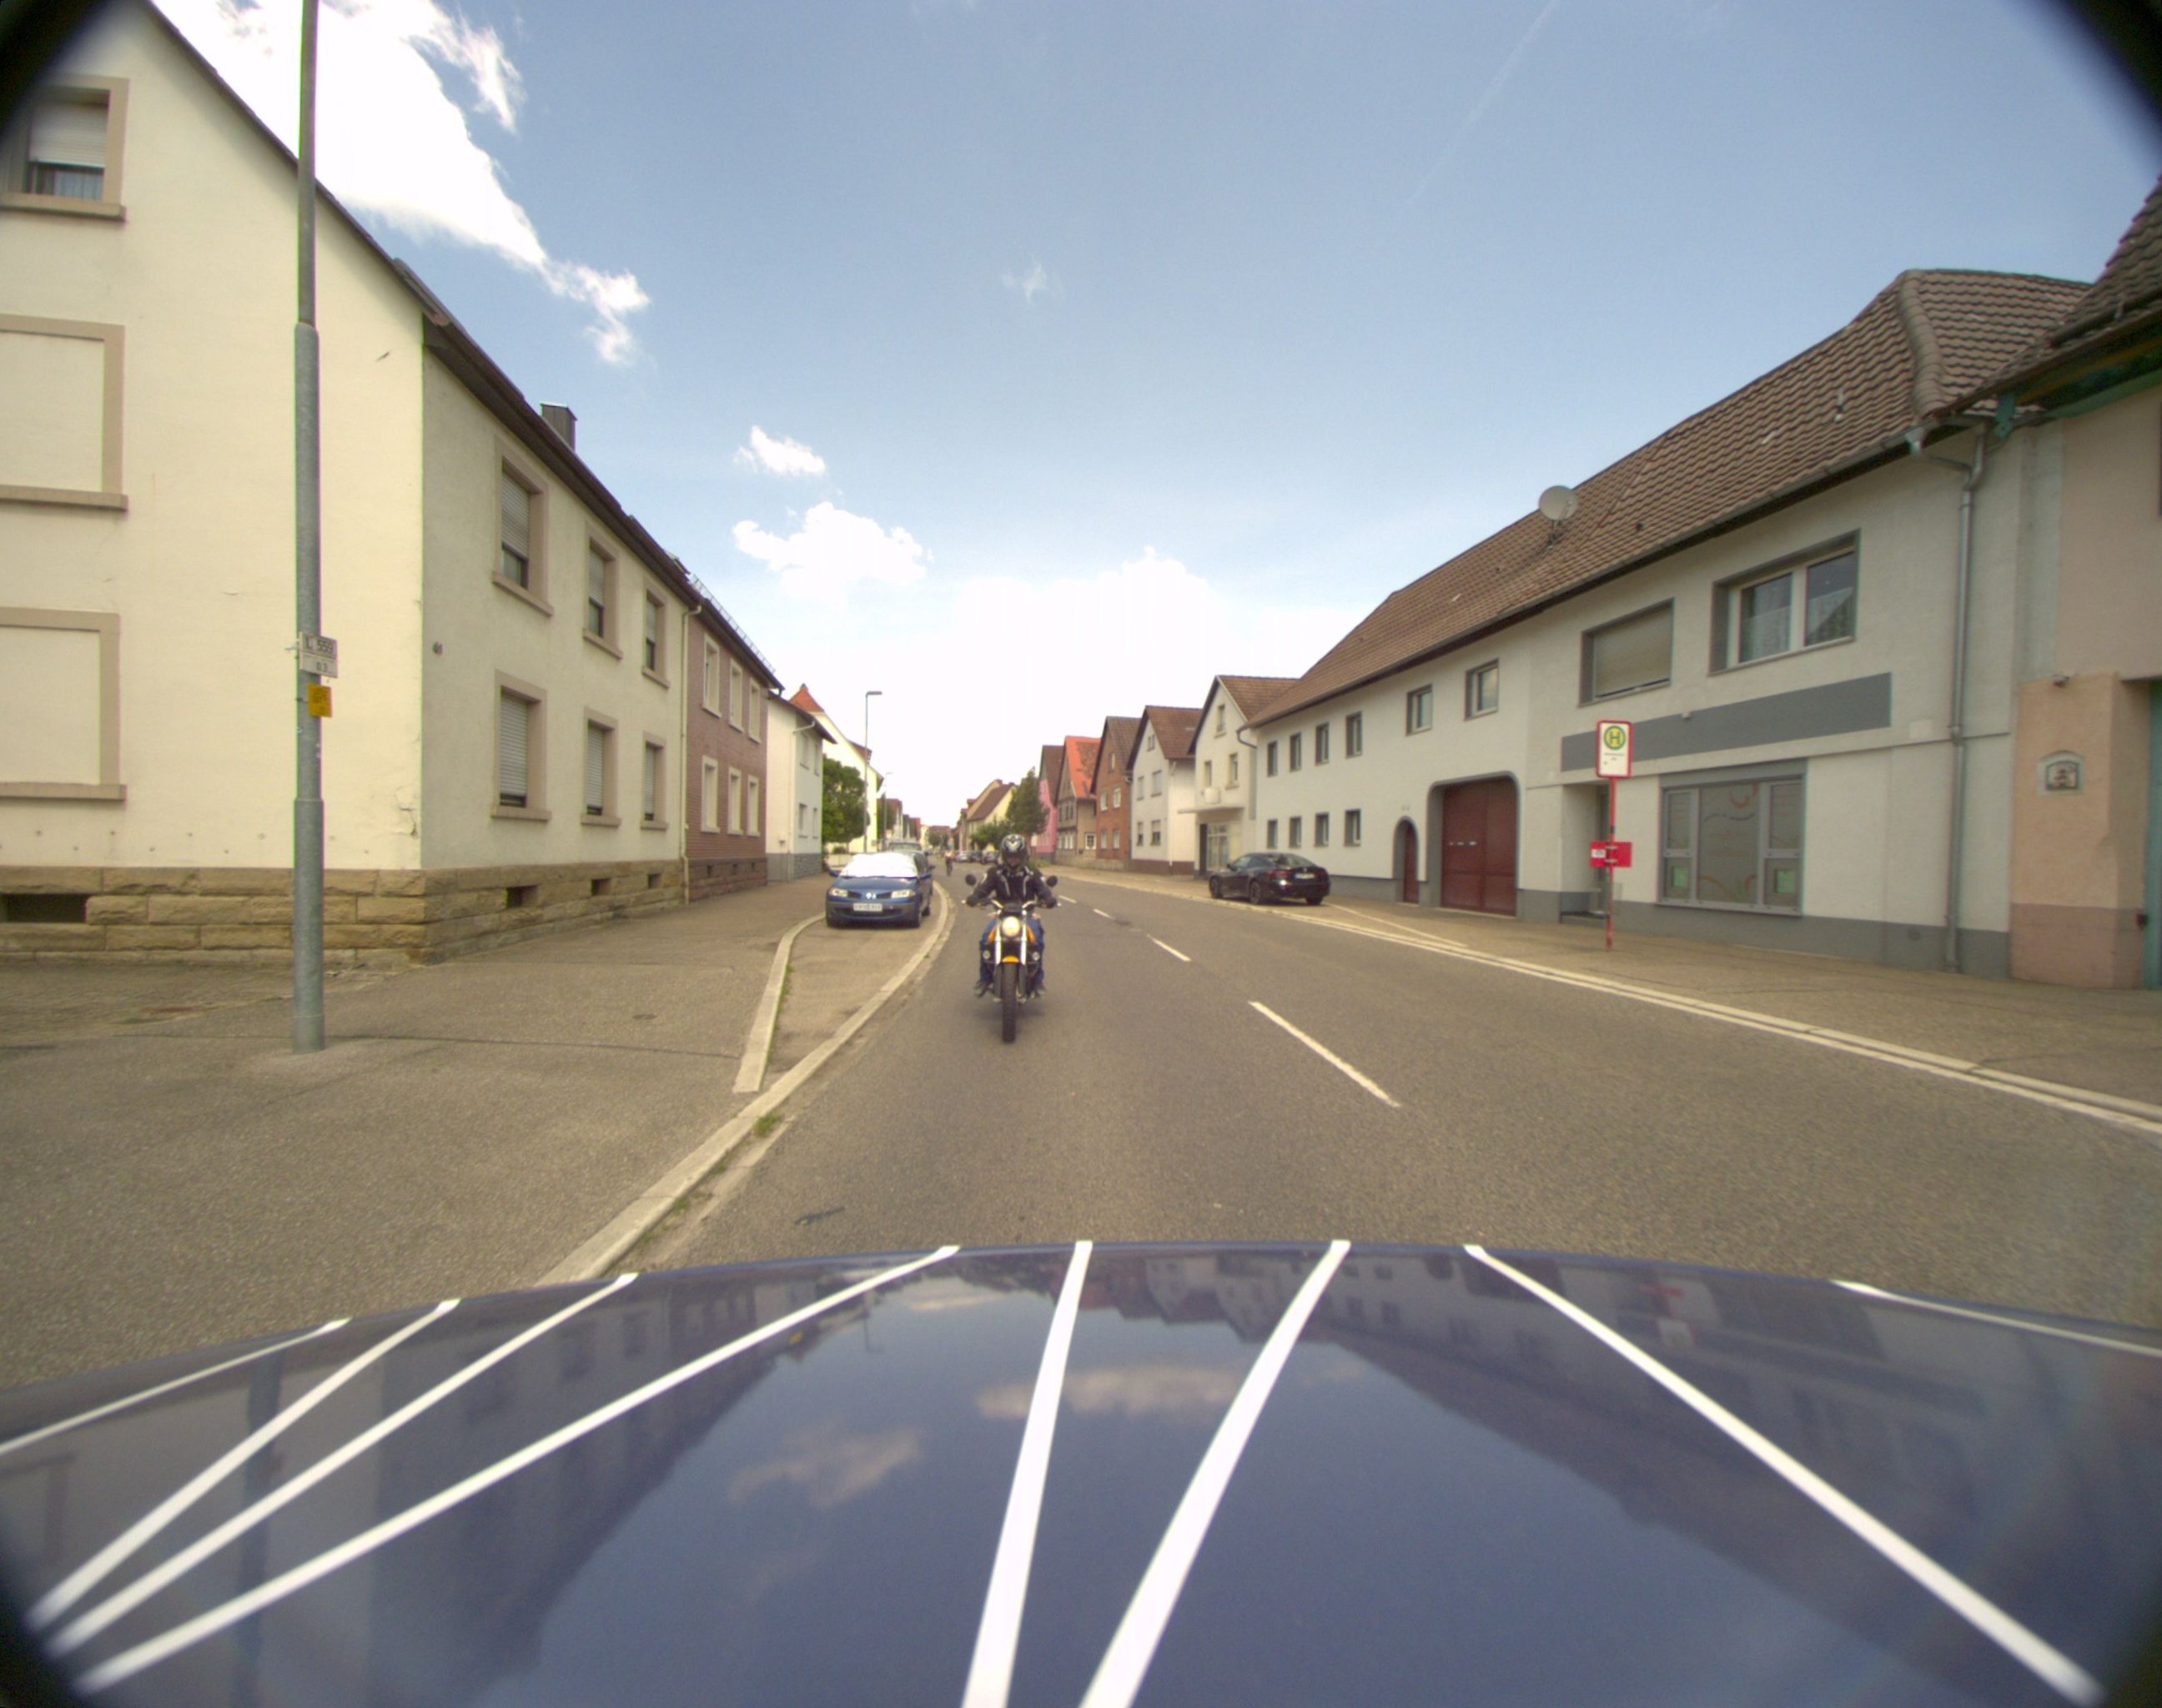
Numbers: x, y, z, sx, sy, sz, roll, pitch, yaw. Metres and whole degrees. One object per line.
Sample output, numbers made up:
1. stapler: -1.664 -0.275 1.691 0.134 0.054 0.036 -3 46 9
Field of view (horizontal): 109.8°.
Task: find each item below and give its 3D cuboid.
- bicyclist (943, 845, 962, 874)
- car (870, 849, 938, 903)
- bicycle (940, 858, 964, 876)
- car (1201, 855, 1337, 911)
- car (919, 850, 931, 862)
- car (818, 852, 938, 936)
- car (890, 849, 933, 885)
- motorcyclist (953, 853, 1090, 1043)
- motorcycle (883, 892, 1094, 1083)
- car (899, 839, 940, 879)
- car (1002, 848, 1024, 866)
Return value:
1. bicyclist: -7.548 0.336 44.550 0.909 1.679 0.761 0 2 6
2. car: -5.425 0.676 23.681 1.774 1.520 3.998 0 -1 -9
3. bicycle: -7.563 0.745 44.549 0.933 1.005 1.925 0 0 5
4. car: 5.015 0.712 21.024 1.772 1.341 4.751 0 0 -12
5. car: -27.971 0.375 136.051 2.000 2.002 3.995 -1 2 -10
6. car: -4.034 0.726 15.704 1.728 1.378 3.997 1 2 -5
7. car: -7.706 0.519 34.358 1.745 1.495 4.552 0 1 -14
8. motorcyclist: -0.520 0.795 6.936 0.999 1.591 0.800 0 2 17
9. motorcycle: -0.666 1.000 6.489 0.983 1.233 2.106 -1 0 17
10. car: -8.500 0.204 40.116 1.932 1.905 5.239 -1 2 -12
11. car: -6.167 0.231 68.890 1.685 1.521 3.495 -1 2 -10
